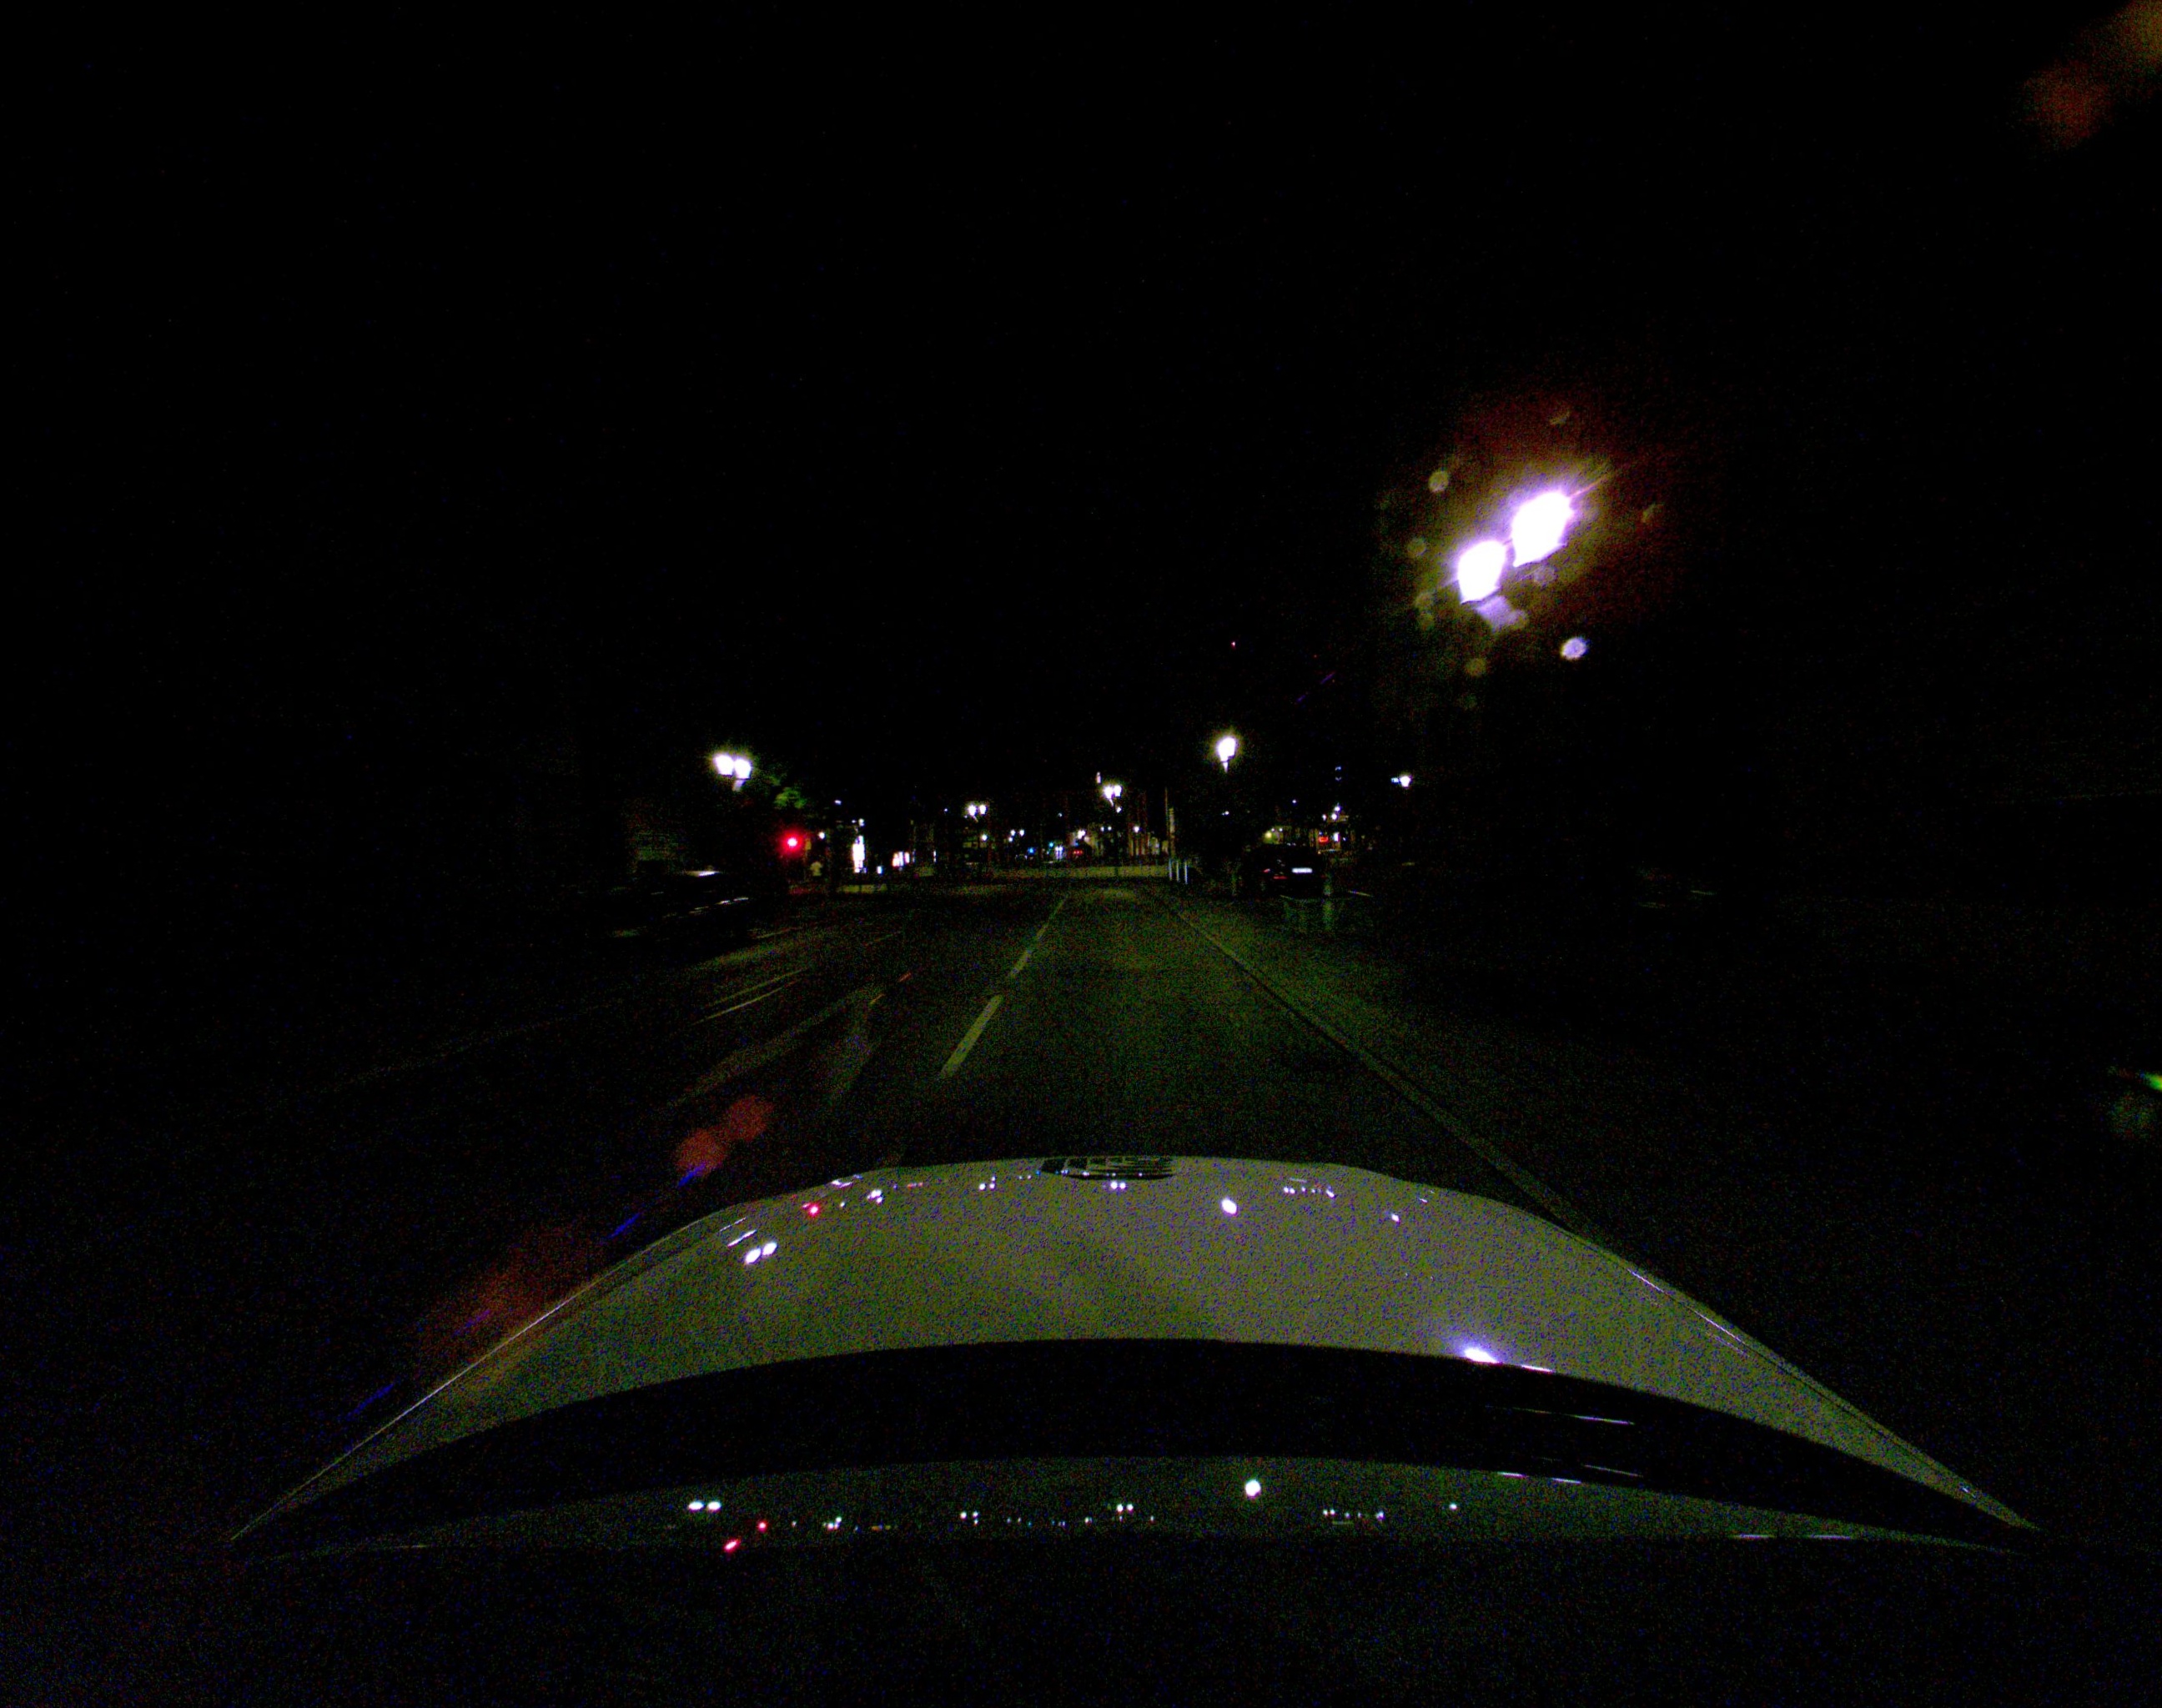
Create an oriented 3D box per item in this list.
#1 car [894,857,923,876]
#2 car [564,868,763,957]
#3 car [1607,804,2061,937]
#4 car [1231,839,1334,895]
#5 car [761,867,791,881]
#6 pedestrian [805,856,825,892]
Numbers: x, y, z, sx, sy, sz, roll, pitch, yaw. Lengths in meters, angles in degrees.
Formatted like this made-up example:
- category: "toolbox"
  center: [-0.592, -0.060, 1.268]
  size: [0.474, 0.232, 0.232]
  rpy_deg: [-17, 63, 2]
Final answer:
- category: "car"
  center: [-16.363, 1.155, 77.425]
  size: [1.989, 1.574, 4.323]
  rpy_deg: [-3, 0, -3]
- category: "car"
  center: [-7.955, 1.037, 16.011]
  size: [1.779, 1.415, 4.125]
  rpy_deg: [-1, 0, -1]
- category: "car"
  center: [10.118, 0.211, 11.277]
  size: [4.404, 1.459, 1.792]
  rpy_deg: [-3, 1, 6]
- category: "car"
  center: [5.970, 0.355, 24.731]
  size: [1.730, 1.459, 4.722]
  rpy_deg: [-2, 0, -3]
- category: "car"
  center: [-35.886, 2.335, 95.669]
  size: [2.011, 1.574, 3.610]
  rpy_deg: [-3, 0, -43]
- category: "pedestrian"
  center: [-13.535, 1.011, 41.463]
  size: [0.683, 1.822, 0.730]
  rpy_deg: [-3, -2, 44]
